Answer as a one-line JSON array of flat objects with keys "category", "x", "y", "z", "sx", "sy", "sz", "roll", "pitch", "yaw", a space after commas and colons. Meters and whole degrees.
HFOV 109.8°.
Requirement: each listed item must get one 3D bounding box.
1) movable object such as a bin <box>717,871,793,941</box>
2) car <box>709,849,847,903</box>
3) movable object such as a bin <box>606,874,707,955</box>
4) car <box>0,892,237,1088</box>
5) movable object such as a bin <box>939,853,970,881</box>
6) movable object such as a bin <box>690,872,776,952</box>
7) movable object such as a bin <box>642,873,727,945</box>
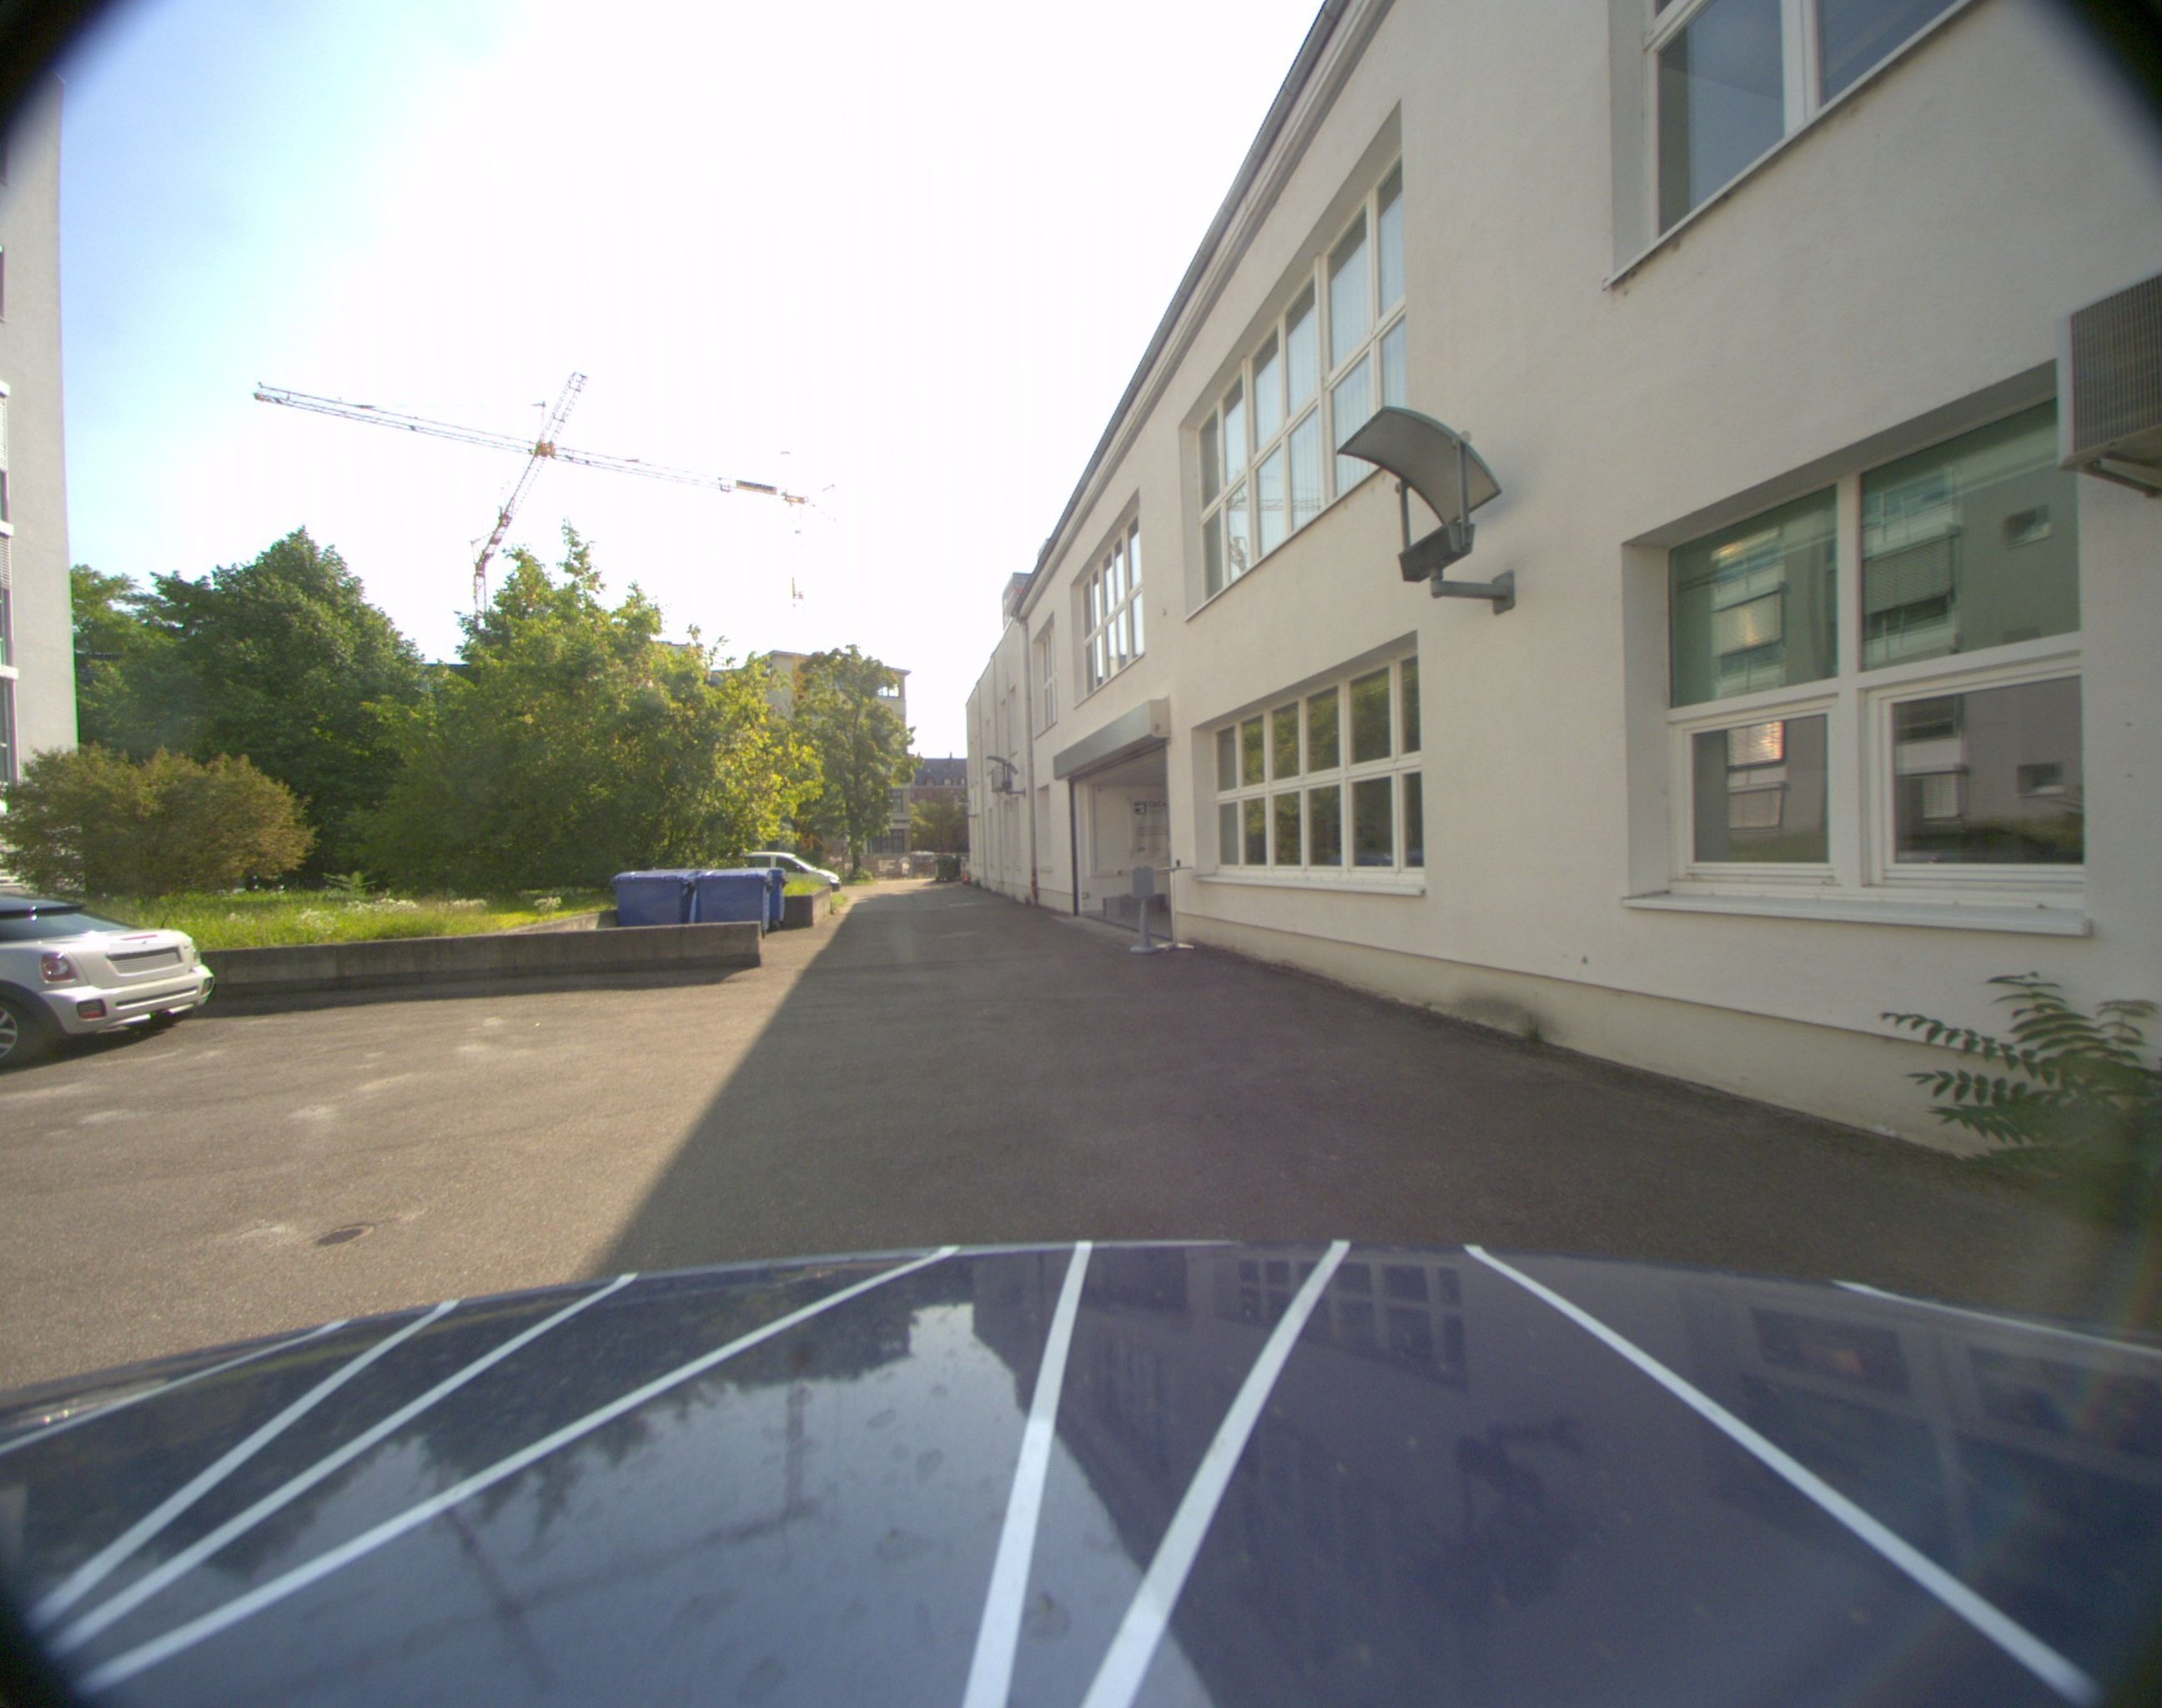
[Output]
[{"category": "movable object such as a bin", "x": -6.752, "y": 1.045, "z": 15.822, "sx": 1.201, "sy": 1.320, "sz": 1.273, "roll": -2, "pitch": 1, "yaw": -13}, {"category": "car", "x": -12.008, "y": 0.852, "z": 30.400, "sx": 4.795, "sy": 1.920, "sz": 1.907, "roll": -2, "pitch": 0, "yaw": -12}, {"category": "movable object such as a bin", "x": -7.753, "y": 1.079, "z": 13.977, "sx": 1.258, "sy": 1.320, "sz": 1.273, "roll": -2, "pitch": 1, "yaw": -13}, {"category": "car", "x": -9.913, "y": 1.139, "z": 6.249, "sx": 3.584, "sy": 1.429, "sz": 1.656, "roll": -2, "pitch": 0, "yaw": -17}, {"category": "movable object such as a bin", "x": -6.893, "y": 0.710, "z": 41.342, "sx": 1.526, "sy": 1.457, "sz": 1.273, "roll": -2, "pitch": 1, "yaw": -14}, {"category": "movable object such as a bin", "x": -6.478, "y": 1.048, "z": 14.248, "sx": 1.215, "sy": 1.343, "sz": 1.273, "roll": -2, "pitch": 1, "yaw": -15}, {"category": "movable object such as a bin", "x": -8.058, "y": 1.083, "z": 15.509, "sx": 1.201, "sy": 1.320, "sz": 1.273, "roll": -2, "pitch": 1, "yaw": -13}]
